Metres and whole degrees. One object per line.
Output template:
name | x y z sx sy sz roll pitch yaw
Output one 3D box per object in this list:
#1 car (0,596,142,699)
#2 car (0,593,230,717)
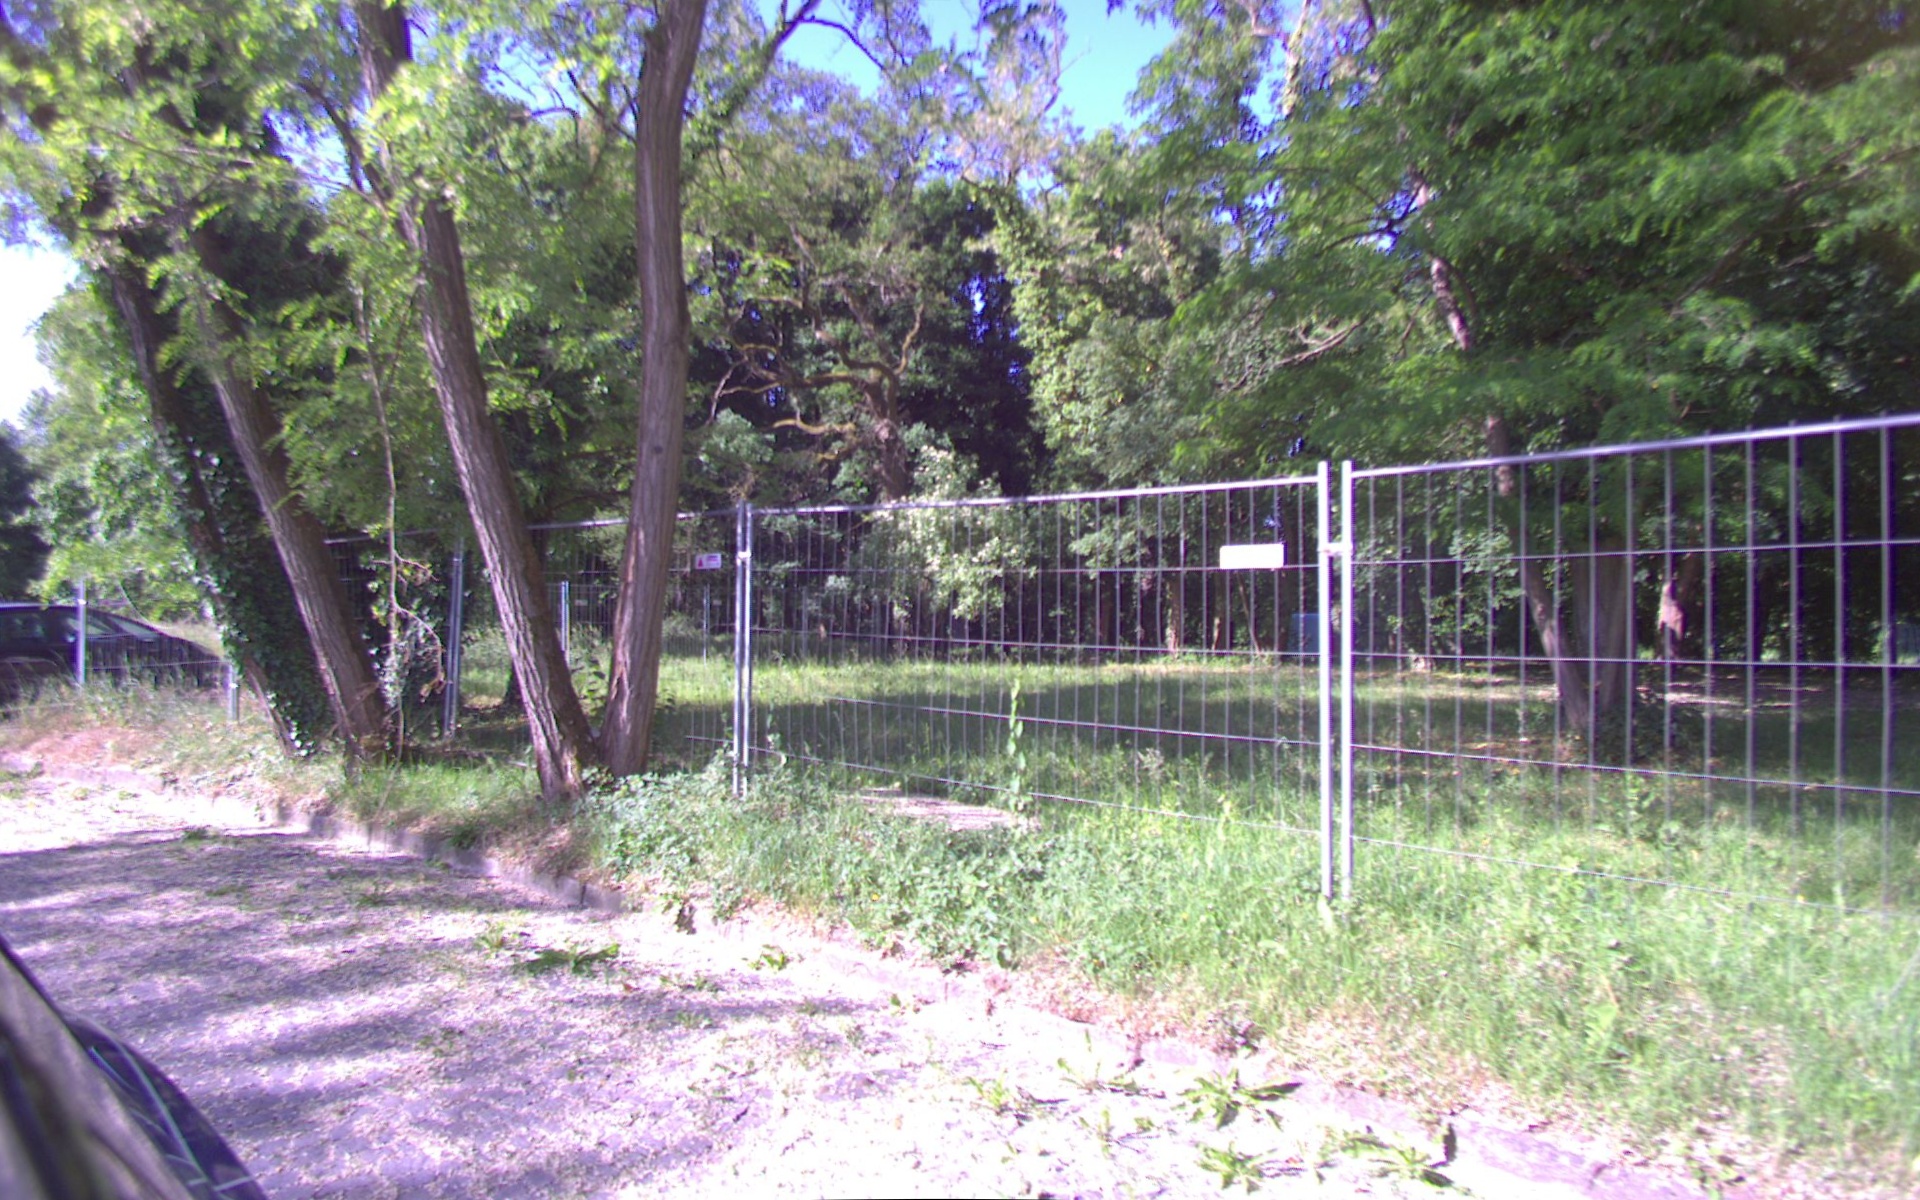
car | -16.765 0.824 17.048 1.870 1.643 4.236 0 2 26
car | -13.945 0.818 15.382 1.819 1.601 4.238 -1 2 25
